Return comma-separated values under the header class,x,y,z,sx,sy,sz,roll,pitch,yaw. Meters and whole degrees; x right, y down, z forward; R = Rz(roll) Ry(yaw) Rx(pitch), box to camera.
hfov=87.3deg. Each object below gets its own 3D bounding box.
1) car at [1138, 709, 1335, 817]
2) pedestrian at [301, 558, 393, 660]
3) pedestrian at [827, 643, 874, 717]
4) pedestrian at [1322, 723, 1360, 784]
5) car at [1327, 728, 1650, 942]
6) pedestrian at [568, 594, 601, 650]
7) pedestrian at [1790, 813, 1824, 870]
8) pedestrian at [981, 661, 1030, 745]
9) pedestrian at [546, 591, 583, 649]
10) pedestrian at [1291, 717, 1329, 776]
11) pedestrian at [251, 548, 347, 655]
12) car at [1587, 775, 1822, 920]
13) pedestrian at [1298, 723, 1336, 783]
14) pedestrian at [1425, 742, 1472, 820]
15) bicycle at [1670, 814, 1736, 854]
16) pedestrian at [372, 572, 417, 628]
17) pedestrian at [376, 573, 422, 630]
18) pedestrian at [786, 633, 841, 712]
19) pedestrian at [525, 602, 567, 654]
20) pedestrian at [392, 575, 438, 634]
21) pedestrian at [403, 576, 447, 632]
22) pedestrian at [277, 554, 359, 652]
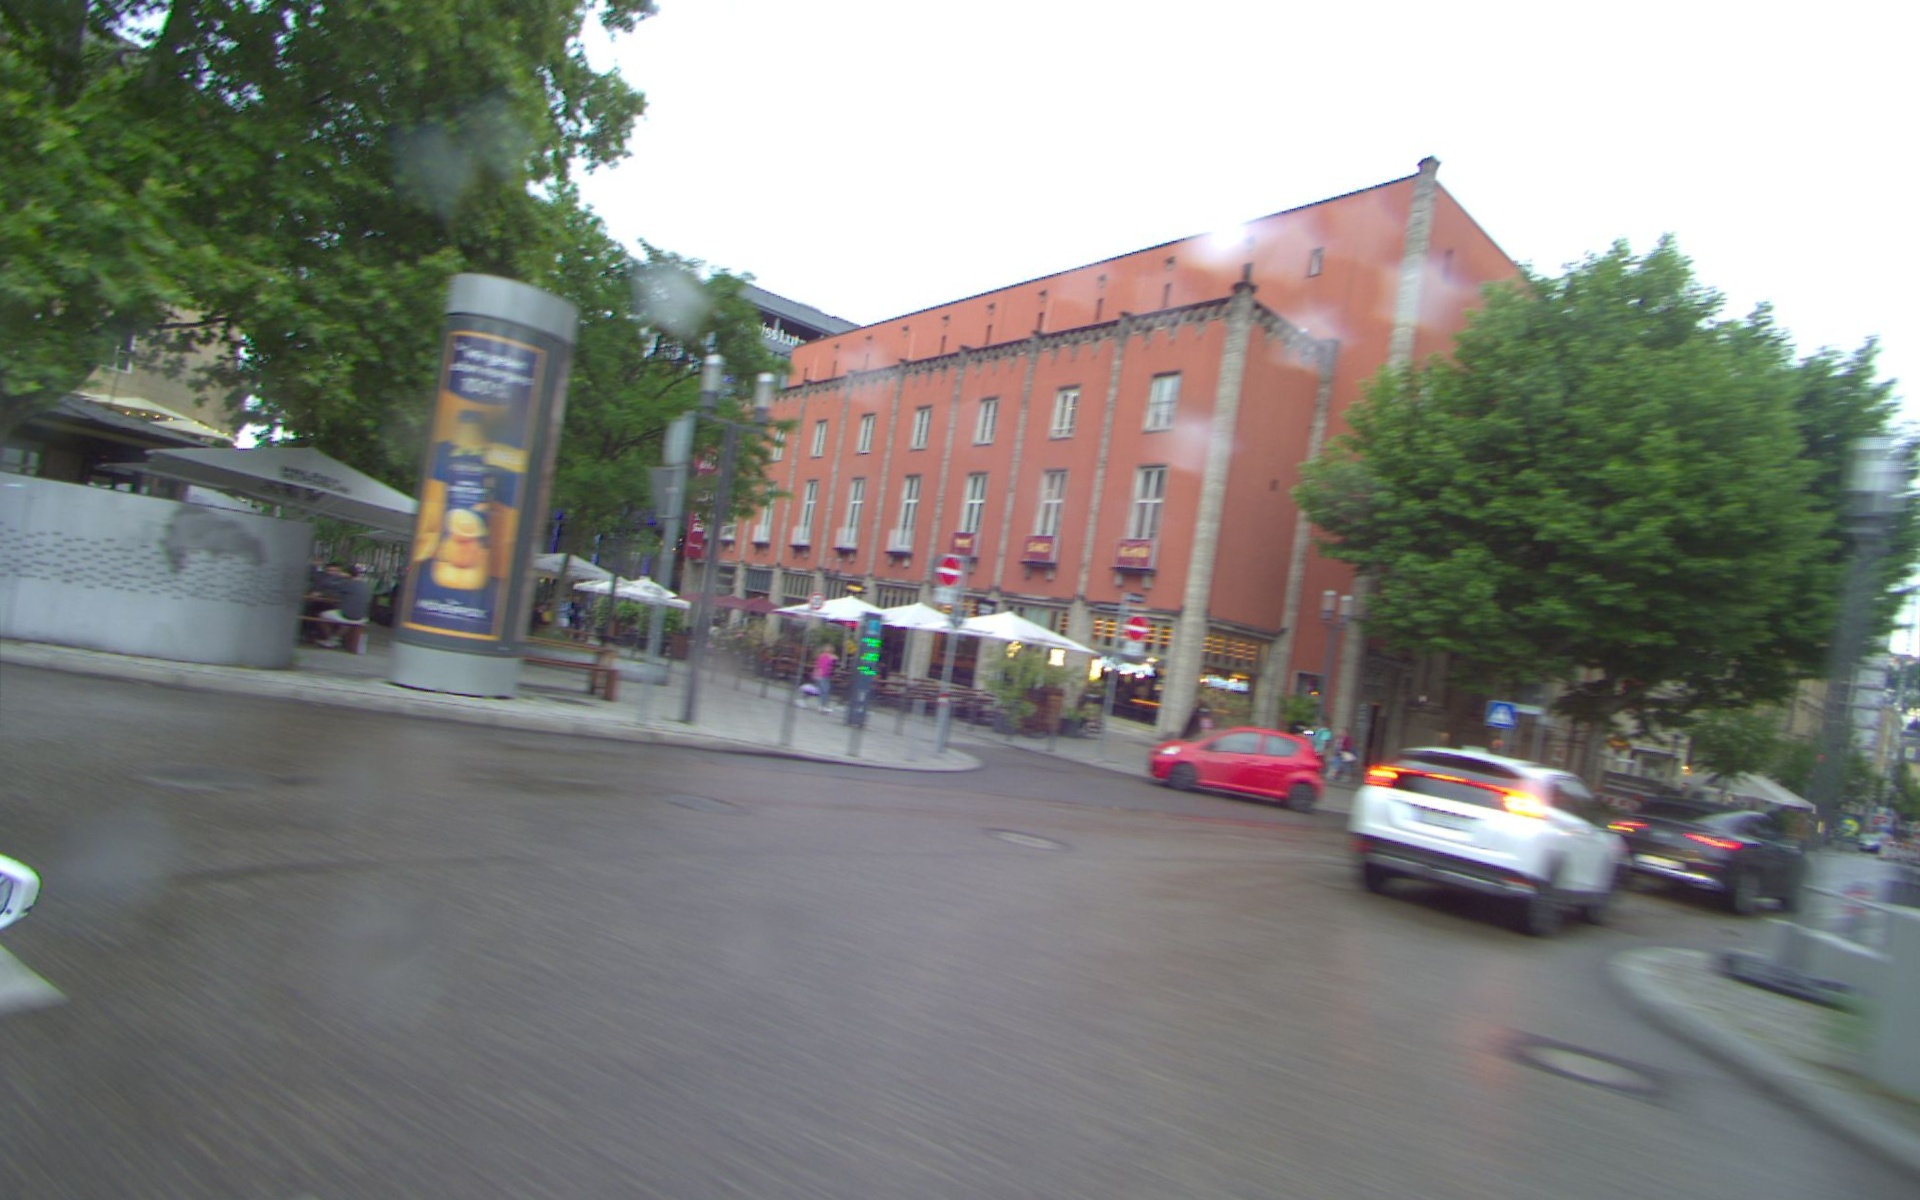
class,x,y,z,sx,sy,sz,roll,pitch,yaw
car,5.480,3.236,20.295,3.462,1.430,1.618,10,-3,7
pedestrian,-9.559,0.140,15.692,0.890,1.424,0.687,7,-4,32
pedestrian,-2.863,2.081,26.272,0.735,1.799,0.591,7,-3,39
pedestrian,11.073,4.460,29.215,0.602,1.614,0.751,7,-3,43
car,5.942,2.585,11.071,4.095,1.636,1.840,16,-7,-43
pedestrian,-13.081,0.769,35.029,0.627,1.851,0.602,12,-5,-42
pedestrian,33.225,9.462,39.469,0.778,2.035,0.767,12,-3,-44
pedestrian,1.126,2.563,25.054,0.621,1.954,0.781,10,-3,-32
pedestrian,-13.579,0.675,34.529,0.744,1.851,0.602,12,-5,-42
pedestrian,10.426,4.362,29.945,0.602,1.614,0.751,7,-3,43
pedestrian,-9.893,0.021,15.061,0.890,1.424,0.687,7,-4,32
car,12.615,4.138,16.935,4.721,1.709,1.983,12,-3,-39
pedestrian,10.196,4.370,28.721,0.602,1.576,0.751,7,-3,43
pedestrian,12.629,4.670,25.992,0.795,1.828,0.609,7,-3,35
bicycle,26.136,8.223,35.410,0.520,0.995,1.735,11,-3,-42
pedestrian,-15.746,0.003,28.019,0.619,1.426,0.611,8,-4,20
pedestrian,-15.252,0.044,27.369,0.619,1.426,0.611,8,-4,20
pedestrian,-3.662,1.814,25.163,0.861,1.799,0.692,7,-3,39
pedestrian,-11.203,0.759,27.207,0.599,1.263,0.630,7,-4,32
pedestrian,-14.535,0.122,26.821,0.619,1.426,0.611,8,-4,20
pedestrian,-14.935,0.123,28.091,0.619,1.426,0.611,8,-4,20
pedestrian,-10.314,0.052,16.162,0.649,1.424,0.687,7,-4,32
